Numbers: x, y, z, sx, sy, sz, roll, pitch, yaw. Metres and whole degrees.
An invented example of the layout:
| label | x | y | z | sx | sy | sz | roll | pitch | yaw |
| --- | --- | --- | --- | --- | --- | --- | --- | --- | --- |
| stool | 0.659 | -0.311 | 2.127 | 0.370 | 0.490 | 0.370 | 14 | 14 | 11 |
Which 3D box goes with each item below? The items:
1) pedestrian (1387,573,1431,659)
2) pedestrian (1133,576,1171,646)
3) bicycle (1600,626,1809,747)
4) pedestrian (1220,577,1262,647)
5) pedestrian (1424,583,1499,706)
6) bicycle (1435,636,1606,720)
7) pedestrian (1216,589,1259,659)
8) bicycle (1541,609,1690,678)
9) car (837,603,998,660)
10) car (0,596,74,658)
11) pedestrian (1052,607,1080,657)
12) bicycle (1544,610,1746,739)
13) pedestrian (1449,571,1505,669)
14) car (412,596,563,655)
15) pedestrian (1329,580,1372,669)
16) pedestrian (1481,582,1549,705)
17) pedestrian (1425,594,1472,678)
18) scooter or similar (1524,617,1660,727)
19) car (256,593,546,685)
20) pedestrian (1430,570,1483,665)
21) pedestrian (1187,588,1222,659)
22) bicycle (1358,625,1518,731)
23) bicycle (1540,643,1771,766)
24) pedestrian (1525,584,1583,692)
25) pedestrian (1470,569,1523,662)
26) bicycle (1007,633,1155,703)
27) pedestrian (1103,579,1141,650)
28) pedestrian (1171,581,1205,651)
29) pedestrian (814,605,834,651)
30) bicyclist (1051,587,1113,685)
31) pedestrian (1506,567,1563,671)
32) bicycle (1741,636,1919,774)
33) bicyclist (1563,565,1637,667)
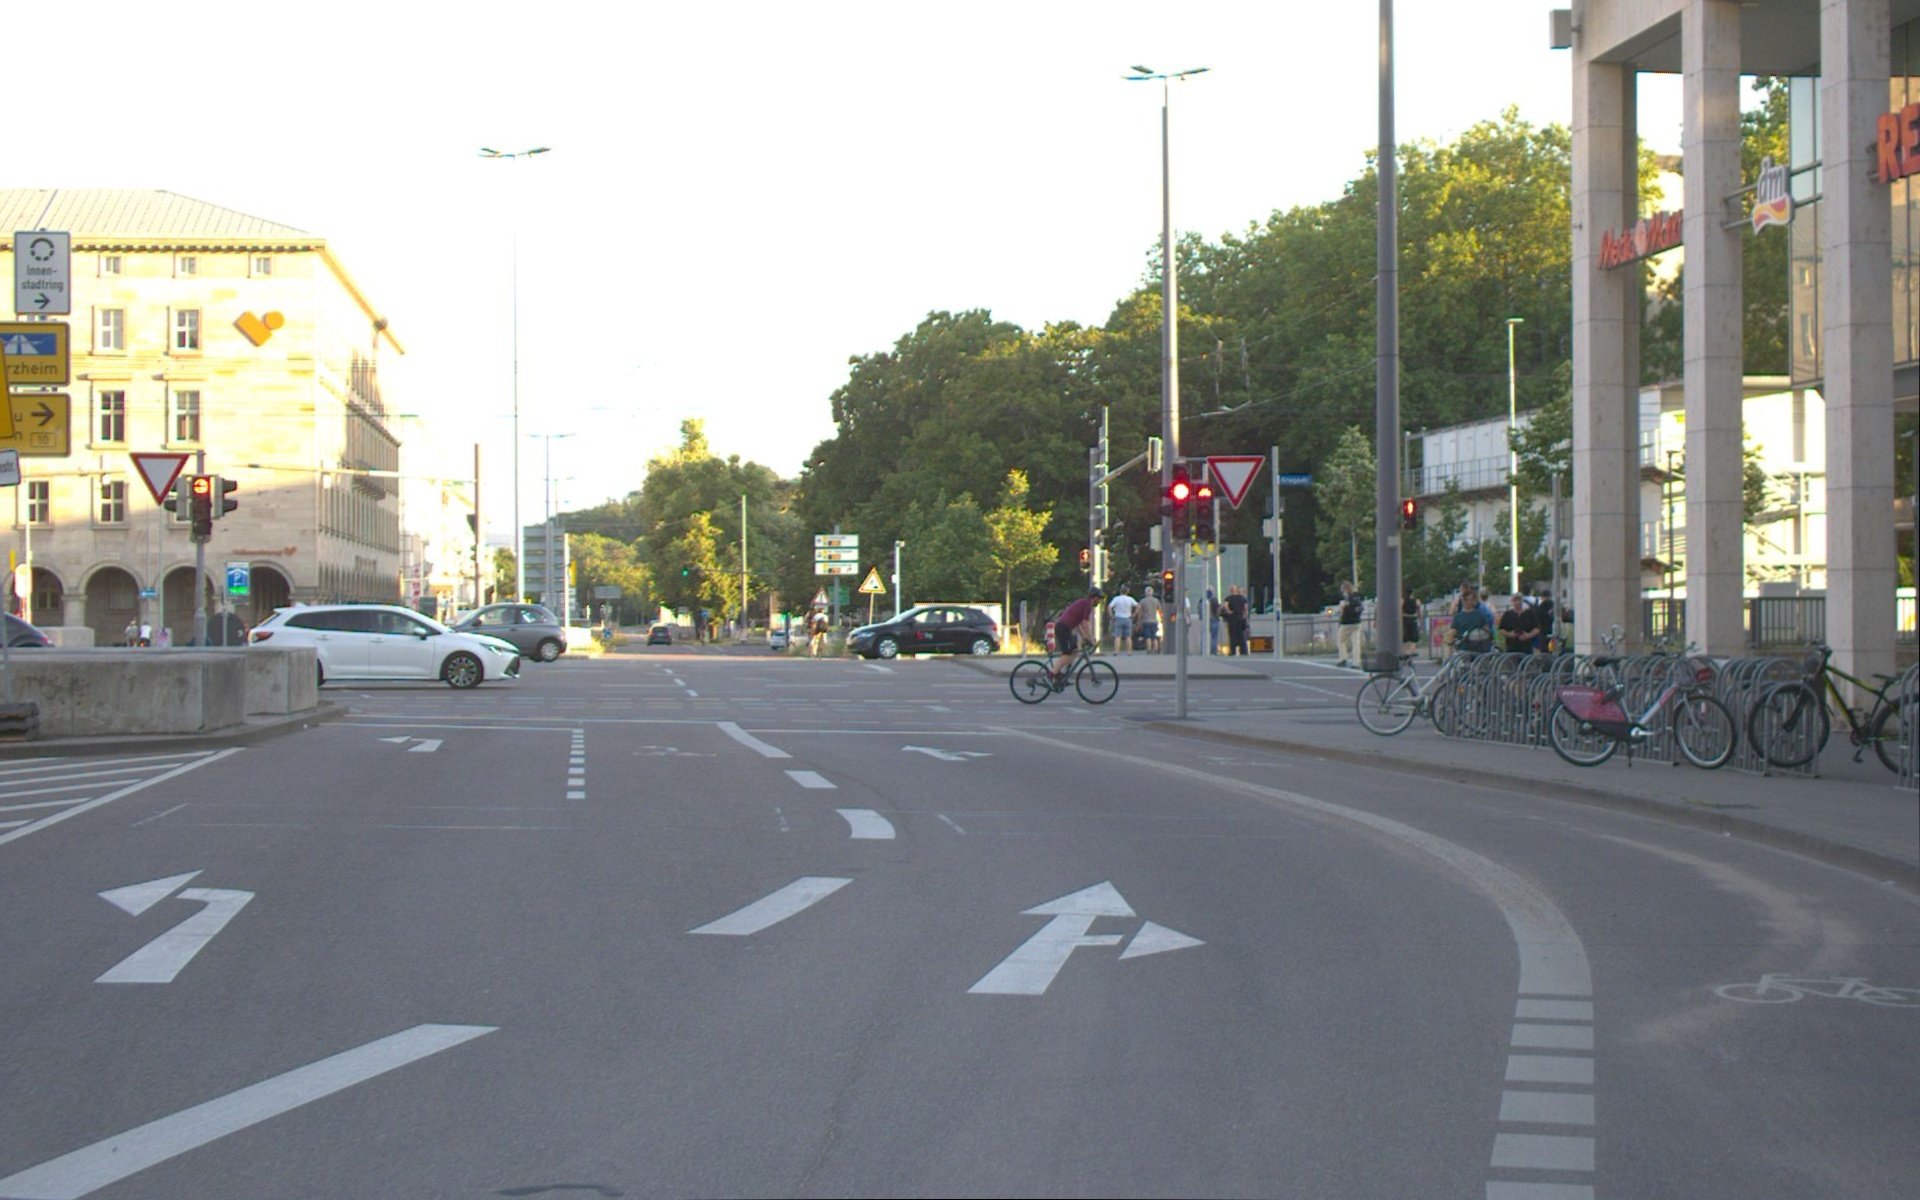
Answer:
| label | x | y | z | sx | sy | sz | roll | pitch | yaw |
| --- | --- | --- | --- | --- | --- | --- | --- | --- | --- |
| pedestrian | 9.146 | 0.325 | 70.019 | 0.836 | 1.724 | 0.687 | 0 | 0 | 10 |
| pedestrian | 4.718 | 0.265 | 84.623 | 0.808 | 1.724 | 0.688 | 0 | 0 | -7 |
| bicycle | 7.195 | 0.832 | 33.261 | 1.871 | 1.109 | 0.570 | 2 | 0 | -2 |
| pedestrian | 7.033 | 0.298 | 86.085 | 0.685 | 1.724 | 0.811 | 0 | 0 | -32 |
| pedestrian | 7.402 | 0.653 | 50.788 | 0.860 | 1.771 | 0.741 | -3 | 0 | -5 |
| bicycle | 6.457 | 0.893 | 39.629 | 1.866 | 0.933 | 0.516 | 0 | 0 | -7 |
| pedestrian | 6.875 | 0.596 | 85.105 | 0.808 | 1.724 | 0.688 | 0 | 0 | -34 |
| bicycle | 10.503 | 0.694 | 55.131 | 2.242 | 1.058 | 0.653 | -1 | 0 | -4 |
| car | -1.122 | 0.828 | 90.850 | 3.974 | 1.448 | 1.546 | -1 | 0 | -18 |
| car | -23.781 | 0.664 | 83.956 | 3.986 | 1.489 | 1.829 | -1 | 0 | -20 |
| pedestrian | 3.726 | 1.129 | 120.763 | 0.808 | 1.724 | 0.929 | 0 | 0 | -7 |
| bicycle | 6.971 | 0.756 | 35.027 | 1.866 | 1.255 | 0.674 | 1 | 0 | -7 |
| pedestrian | 9.204 | 0.355 | 61.205 | 0.893 | 1.724 | 0.688 | 0 | 0 | 2 |
| car | -12.029 | 0.644 | 87.482 | 3.713 | 1.448 | 1.546 | 0 | 0 | -12 |
| pedestrian | 7.656 | 0.472 | 67.421 | 0.692 | 1.724 | 0.741 | 0 | 0 | -4 |
| pedestrian | 8.210 | 0.640 | 50.853 | 0.756 | 1.771 | 0.741 | -3 | 0 | -5 |
| pedestrian | 10.134 | 0.734 | 71.322 | 0.835 | 1.724 | 0.688 | 0 | 0 | -5 |
| scooter or similar | 6.758 | 0.769 | 36.786 | 1.275 | 1.156 | 0.674 | 0 | 0 | -7 |
| car | -9.538 | 0.652 | 58.999 | 4.796 | 1.491 | 2.128 | 0 | 0 | -6 |
| pedestrian | 9.064 | 0.311 | 62.812 | 0.893 | 1.724 | 0.688 | 0 | 0 | 4 |
| pedestrian | 6.050 | 0.578 | 84.991 | 0.808 | 1.724 | 0.688 | 0 | 0 | 7 |
| bicycle | 5.557 | 0.907 | 39.934 | 1.818 | 1.208 | 0.570 | 0 | 0 | 10 |
| bicycle | 6.088 | 0.908 | 30.129 | 1.898 | 1.044 | 0.570 | 0 | 0 | -1 |
| pedestrian | 10.117 | 0.635 | 58.585 | 0.893 | 1.824 | 0.688 | 0 | 0 | 3 |
| pedestrian | 9.994 | 0.280 | 64.058 | 0.893 | 1.724 | 0.688 | 0 | 0 | 4 |
| bicycle | 1.900 | 1.058 | 54.050 | 2.241 | 1.058 | 0.653 | -1 | 0 | -7 |
| pedestrian | 3.981 | 0.357 | 84.458 | 0.808 | 1.724 | 0.688 | 0 | 0 | -7 |
| pedestrian | 5.691 | 0.402 | 85.675 | 0.808 | 1.724 | 0.688 | 0 | 0 | 7 |
| pedestrian | -4.166 | 0.855 | 105.044 | 0.522 | 1.369 | 0.688 | 0 | 0 | -9 |
| bicyclist | 1.918 | 0.563 | 54.048 | 0.879 | 1.525 | 0.653 | -1 | 0 | -7 |
| pedestrian | 10.207 | 0.330 | 61.127 | 0.893 | 1.834 | 0.688 | 0 | 0 | 2 |
| bicycle | 7.553 | 0.884 | 28.870 | 1.816 | 1.096 | 0.600 | 2 | 0 | 2 |
| bicyclist | 10.251 | 0.251 | 55.114 | 1.019 | 1.616 | 0.653 | -1 | 0 | -4 |
